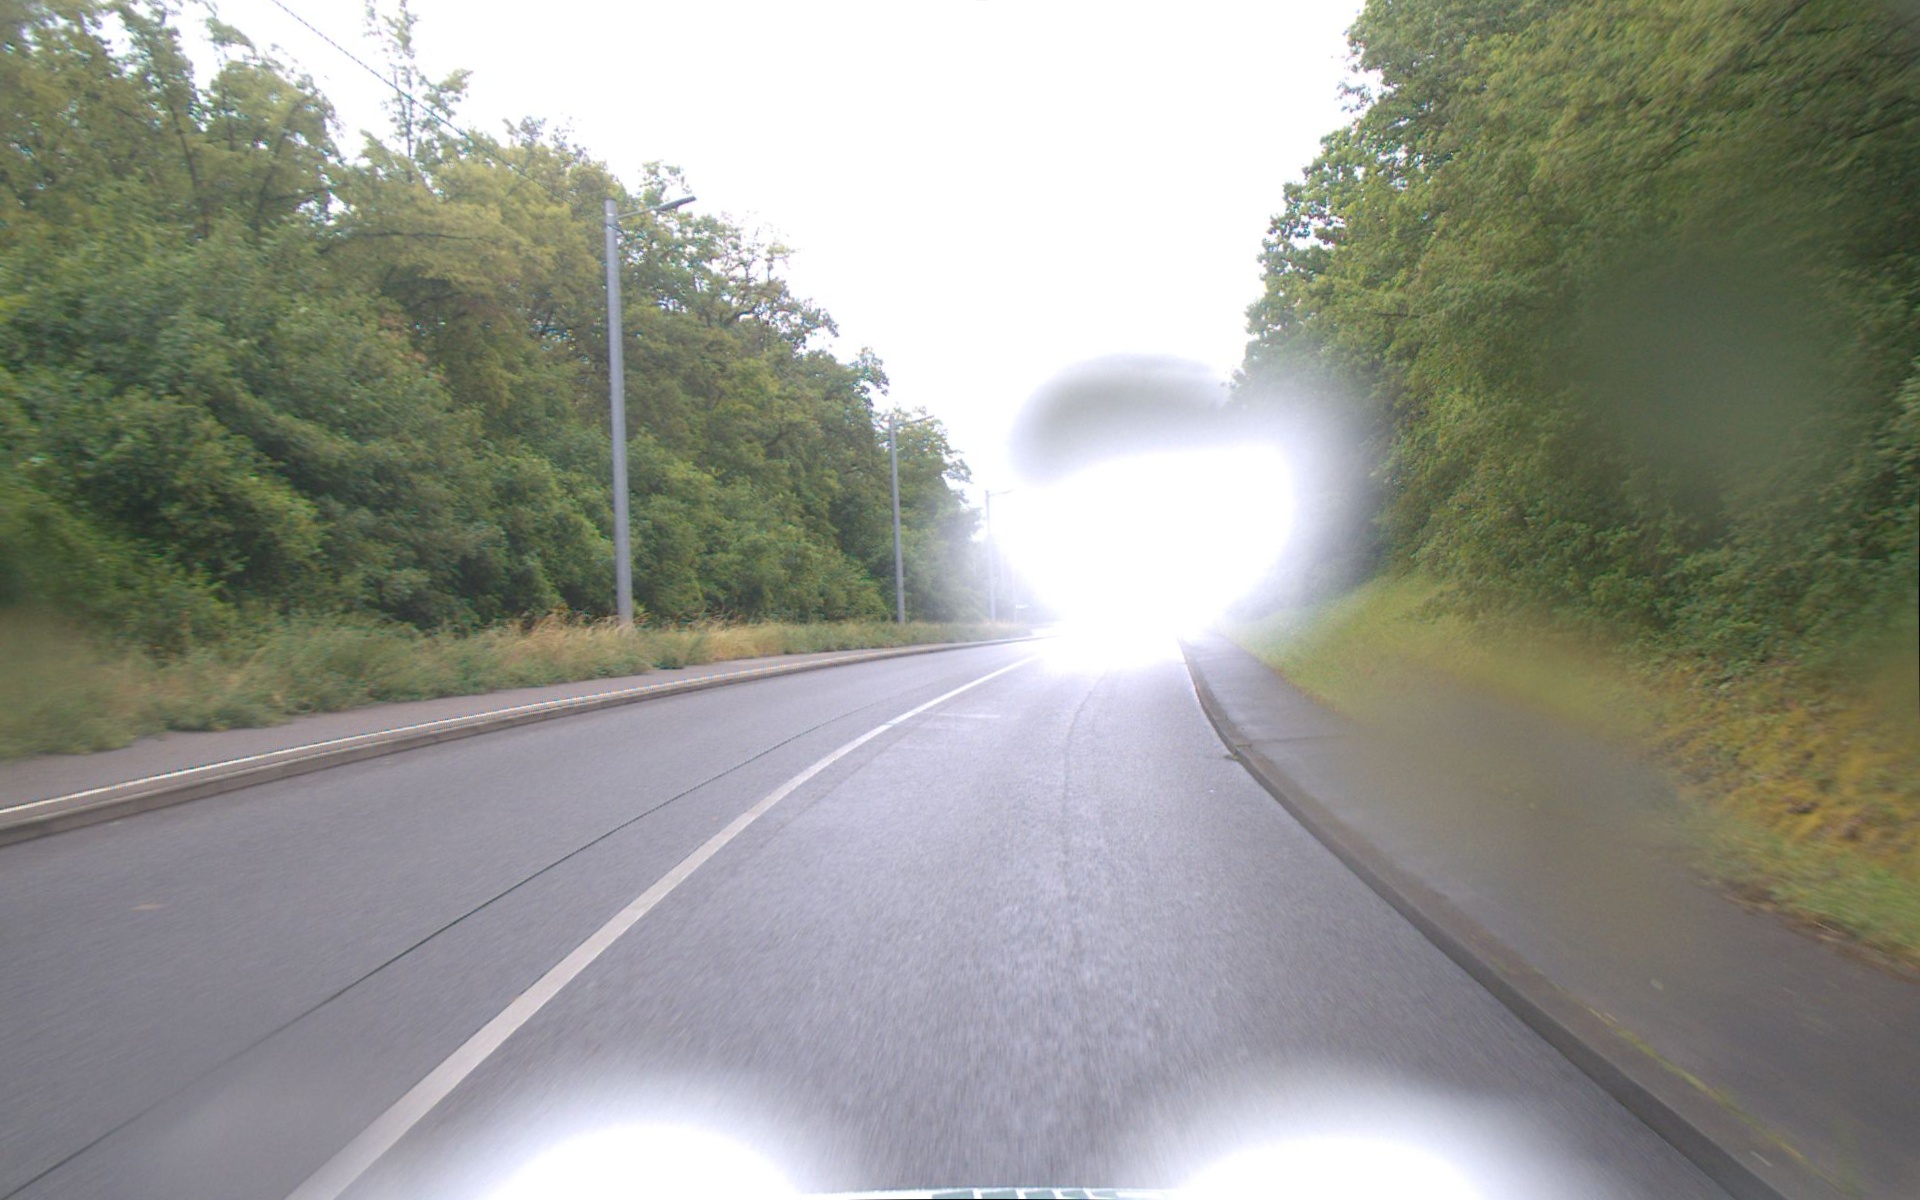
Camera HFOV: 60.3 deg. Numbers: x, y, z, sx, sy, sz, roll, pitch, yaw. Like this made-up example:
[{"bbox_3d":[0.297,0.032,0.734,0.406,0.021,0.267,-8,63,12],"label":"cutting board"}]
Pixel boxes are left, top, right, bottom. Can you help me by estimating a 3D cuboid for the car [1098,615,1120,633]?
[{"bbox_3d":[14.523,2.364,161.257,1.829,1.624,3.999,1,-1,0],"label":"car"}]
